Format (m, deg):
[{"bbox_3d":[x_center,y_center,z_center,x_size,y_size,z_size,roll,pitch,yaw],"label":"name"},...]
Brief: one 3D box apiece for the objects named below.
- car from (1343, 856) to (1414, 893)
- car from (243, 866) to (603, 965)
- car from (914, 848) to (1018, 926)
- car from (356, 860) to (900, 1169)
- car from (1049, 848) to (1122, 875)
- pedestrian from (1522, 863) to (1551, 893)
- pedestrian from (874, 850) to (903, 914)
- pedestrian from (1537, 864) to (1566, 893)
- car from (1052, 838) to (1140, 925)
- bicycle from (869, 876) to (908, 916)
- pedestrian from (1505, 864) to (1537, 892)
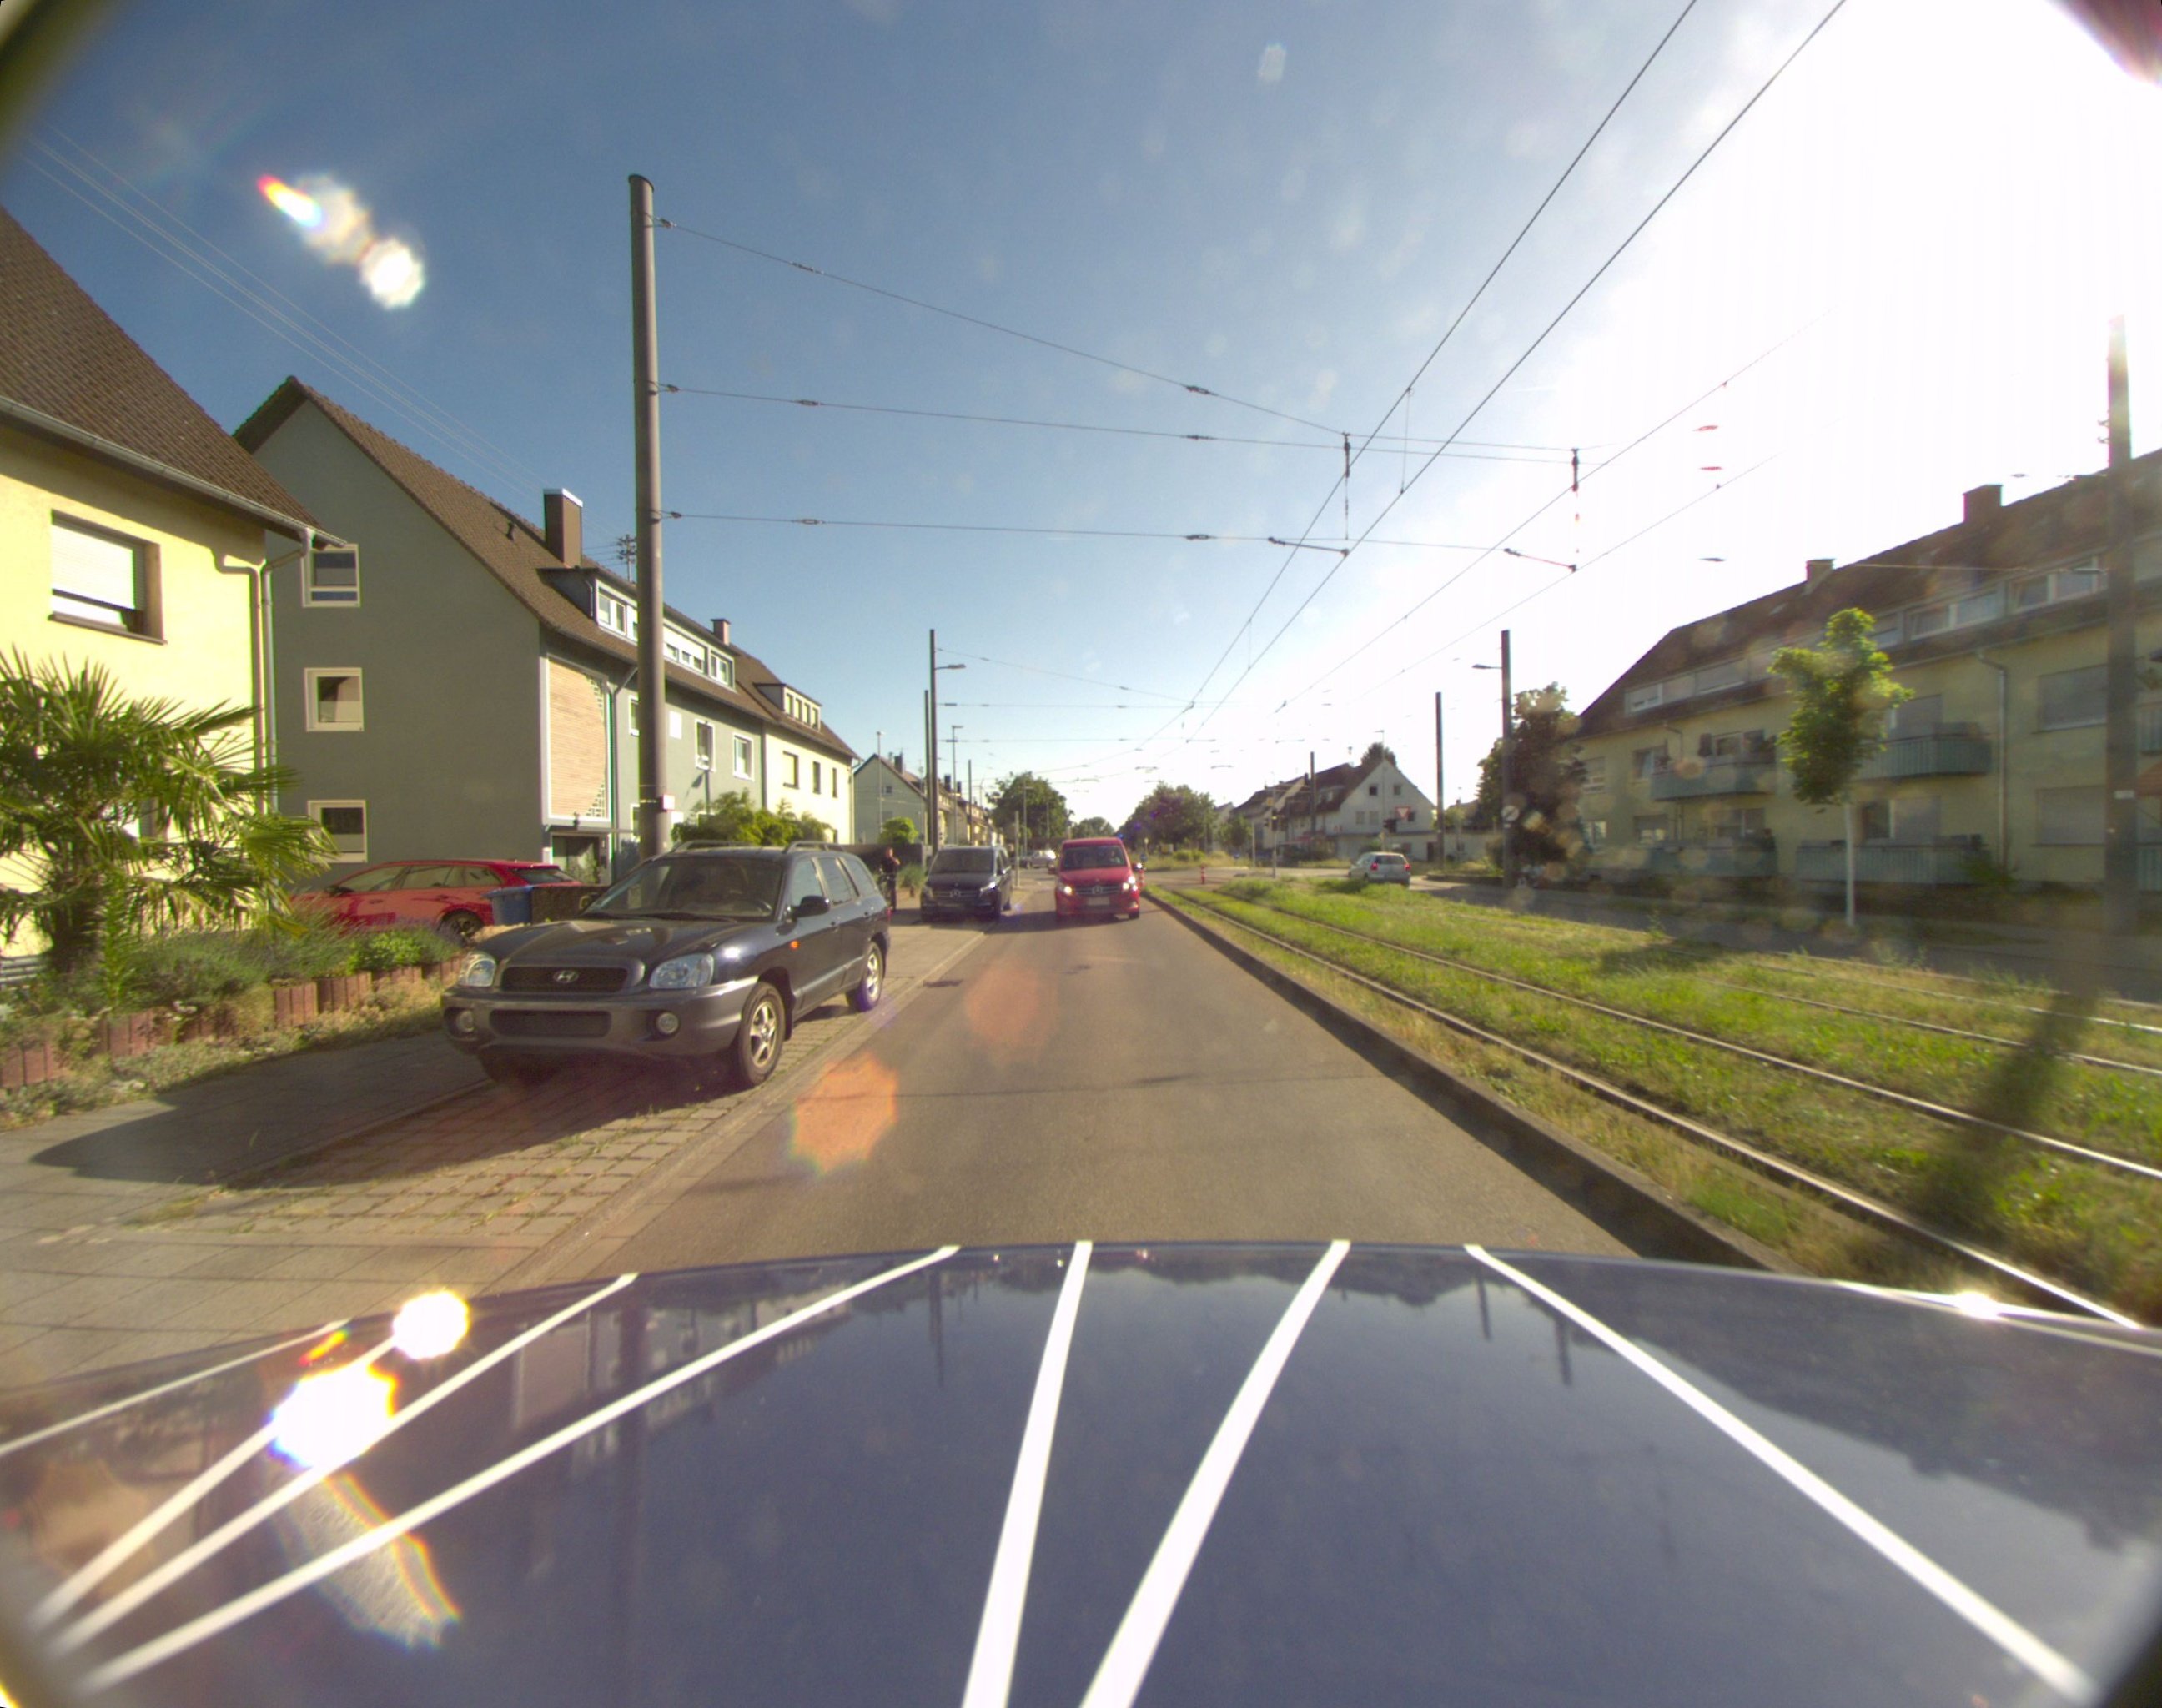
[{"bbox_3d":[11.942,0.787,30.717,1.553,1.403,3.659,0,0,2],"label":"car"},{"bbox_3d":[-10.486,0.941,12.370,4.175,1.459,1.900,0,0,0],"label":"car"},{"bbox_3d":[-2.893,0.758,20.255,1.966,1.825,4.927,0,0,0],"label":"car"},{"bbox_3d":[-3.007,0.895,6.388,1.859,1.649,4.473,0,0,0],"label":"car"},{"bbox_3d":[0.286,0.452,45.787,3.992,1.570,1.833,0,0,16],"label":"car"},{"bbox_3d":[16.961,0.866,28.285,0.821,1.059,0.625,-1,3,-32],"label":"pedestrian"},{"bbox_3d":[-5.235,0.736,20.674,0.584,1.713,0.714,0,1,2],"label":"pedestrian"},{"bbox_3d":[17.075,0.892,27.575,0.725,1.000,0.594,-1,2,-23],"label":"pedestrian"},{"bbox_3d":[0.239,0.615,20.049,1.999,1.970,5.236,0,0,-2],"label":"car"},{"bbox_3d":[-5.234,1.136,20.753,0.602,0.974,1.562,1,1,3],"label":"bicycle"},{"bbox_3d":[16.859,0.898,29.149,0.819,1.040,0.687,0,1,-2],"label":"pedestrian"}]
